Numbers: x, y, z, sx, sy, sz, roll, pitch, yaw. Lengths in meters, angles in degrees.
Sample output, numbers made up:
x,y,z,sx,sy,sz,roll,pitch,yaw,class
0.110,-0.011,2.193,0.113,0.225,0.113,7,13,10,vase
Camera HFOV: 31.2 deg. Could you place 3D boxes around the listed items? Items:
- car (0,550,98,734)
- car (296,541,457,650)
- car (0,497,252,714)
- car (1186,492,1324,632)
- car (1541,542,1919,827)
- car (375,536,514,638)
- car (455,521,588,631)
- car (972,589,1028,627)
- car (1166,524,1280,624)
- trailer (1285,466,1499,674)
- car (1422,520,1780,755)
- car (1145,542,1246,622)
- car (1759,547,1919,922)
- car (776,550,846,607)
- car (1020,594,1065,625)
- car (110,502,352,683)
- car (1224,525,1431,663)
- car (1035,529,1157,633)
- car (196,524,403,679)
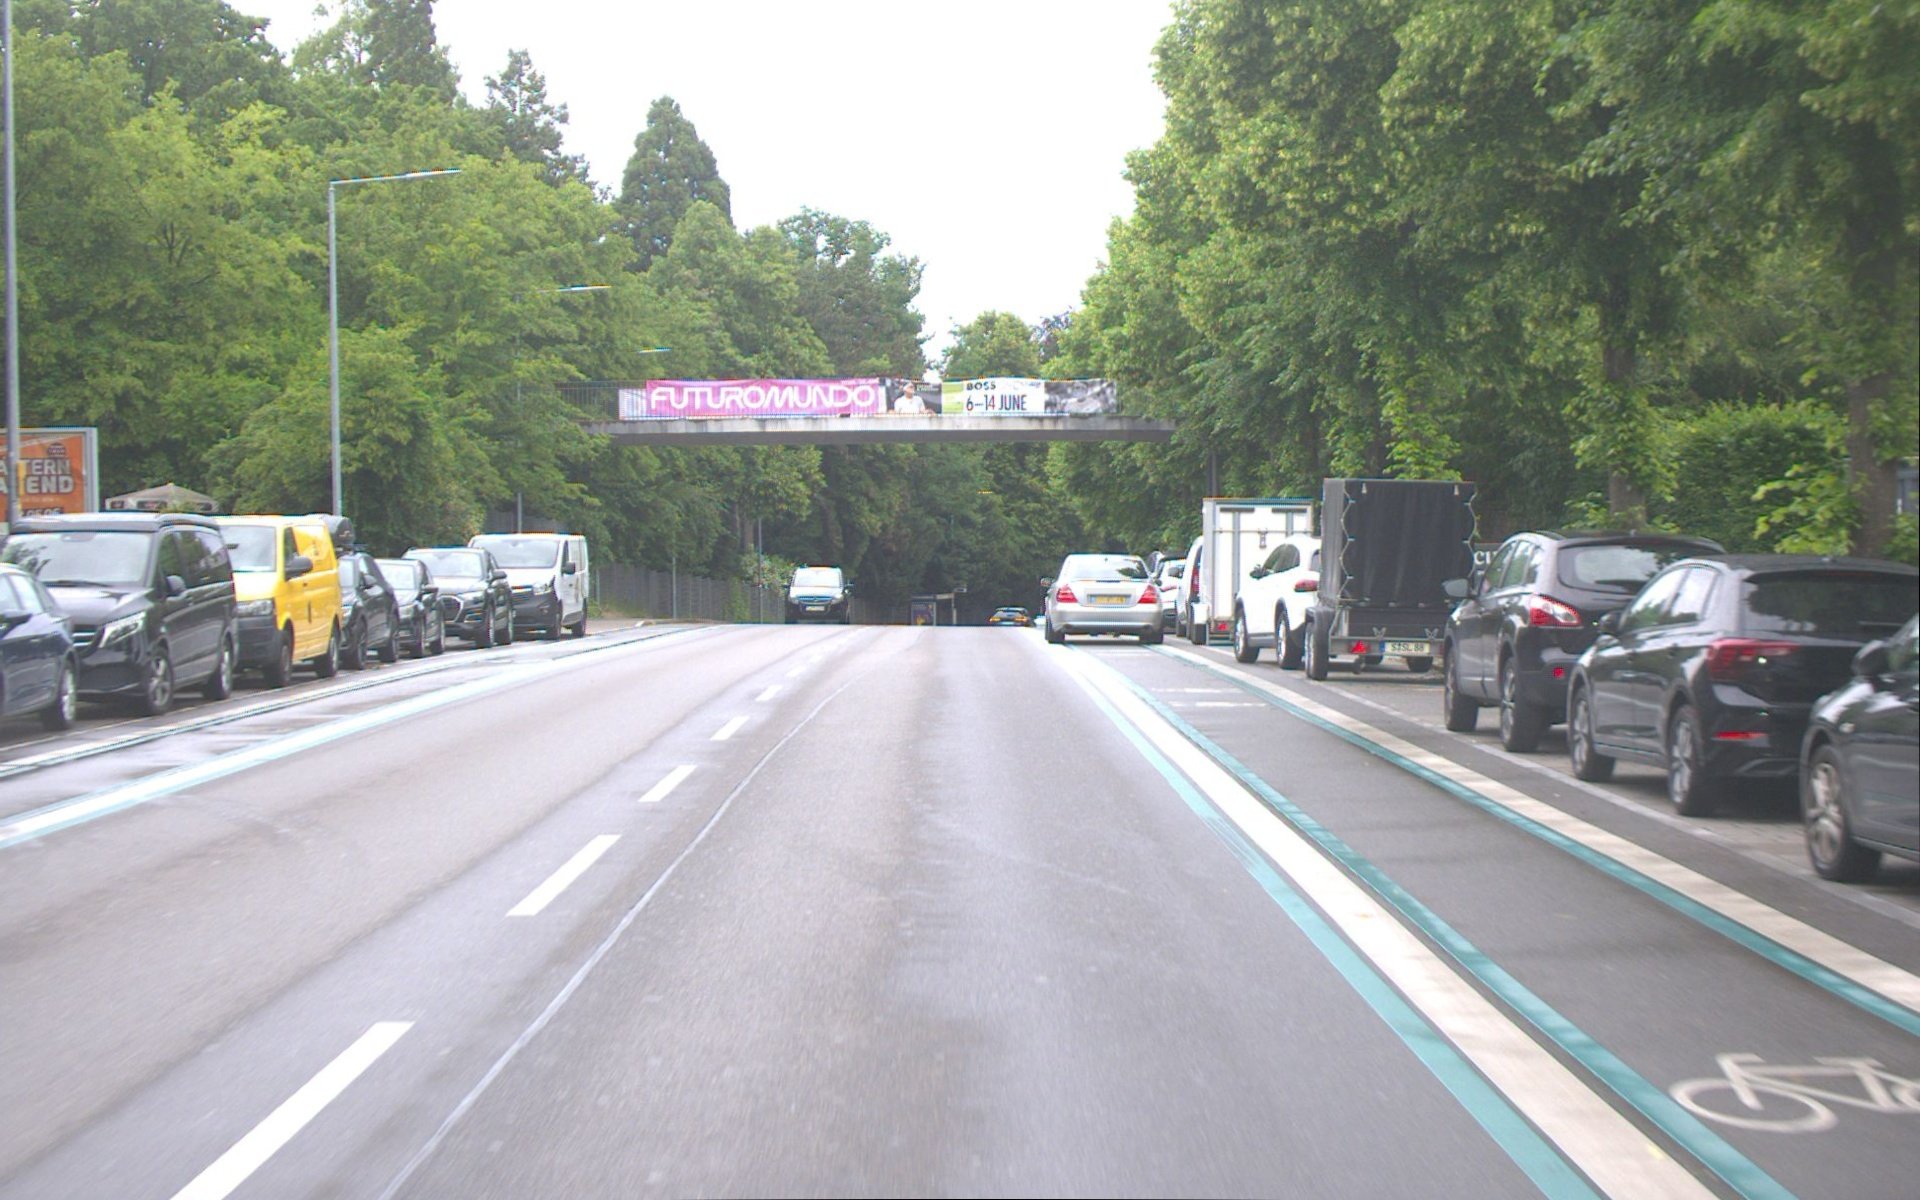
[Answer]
x,y,z,sx,sy,sz,roll,pitch,yaw,class
-8.493,0.333,28.326,1.731,1.385,4.371,0,2,-1,car
-8.544,-0.098,50.629,1.886,1.446,3.983,0,2,-3,car
-8.454,-0.028,33.783,1.990,1.939,5.142,0,2,-1,car
4.637,-0.620,54.516,1.889,2.120,4.045,-1,1,1,car
4.681,0.408,20.132,1.731,1.458,4.073,-1,1,-2,car
-8.437,-0.240,56.547,1.870,1.536,4.055,0,2,-3,car
-8.117,-0.484,63.985,1.757,1.925,4.193,0,2,2,car
1.760,0.332,150.366,2.140,1.487,4.498,0,2,5,car
4.545,-0.481,59.885,1.731,1.678,4.045,-1,1,1,car
4.697,-0.359,37.868,1.884,2.158,3.808,-1,1,0,trailer
4.681,0.216,25.675,1.731,1.578,4.155,1,1,-2,car
4.529,-0.367,66.583,1.731,1.457,4.045,-1,1,1,car
4.675,0.552,13.910,1.731,1.458,4.278,1,2,-2,car
-4.145,-0.607,95.157,1.869,1.468,4.055,-1,1,-3,car
4.491,0.505,185.800,1.991,1.600,4.053,0,1,8,car
-8.405,-0.149,40.043,1.882,1.938,4.827,0,2,-1,car
4.431,-0.115,41.990,1.731,1.578,4.155,-1,1,-5,car
2.138,-0.333,55.007,1.731,1.578,4.037,-1,1,-1,car
-8.611,-0.024,45.128,1.990,1.886,4.055,0,2,-1,car
